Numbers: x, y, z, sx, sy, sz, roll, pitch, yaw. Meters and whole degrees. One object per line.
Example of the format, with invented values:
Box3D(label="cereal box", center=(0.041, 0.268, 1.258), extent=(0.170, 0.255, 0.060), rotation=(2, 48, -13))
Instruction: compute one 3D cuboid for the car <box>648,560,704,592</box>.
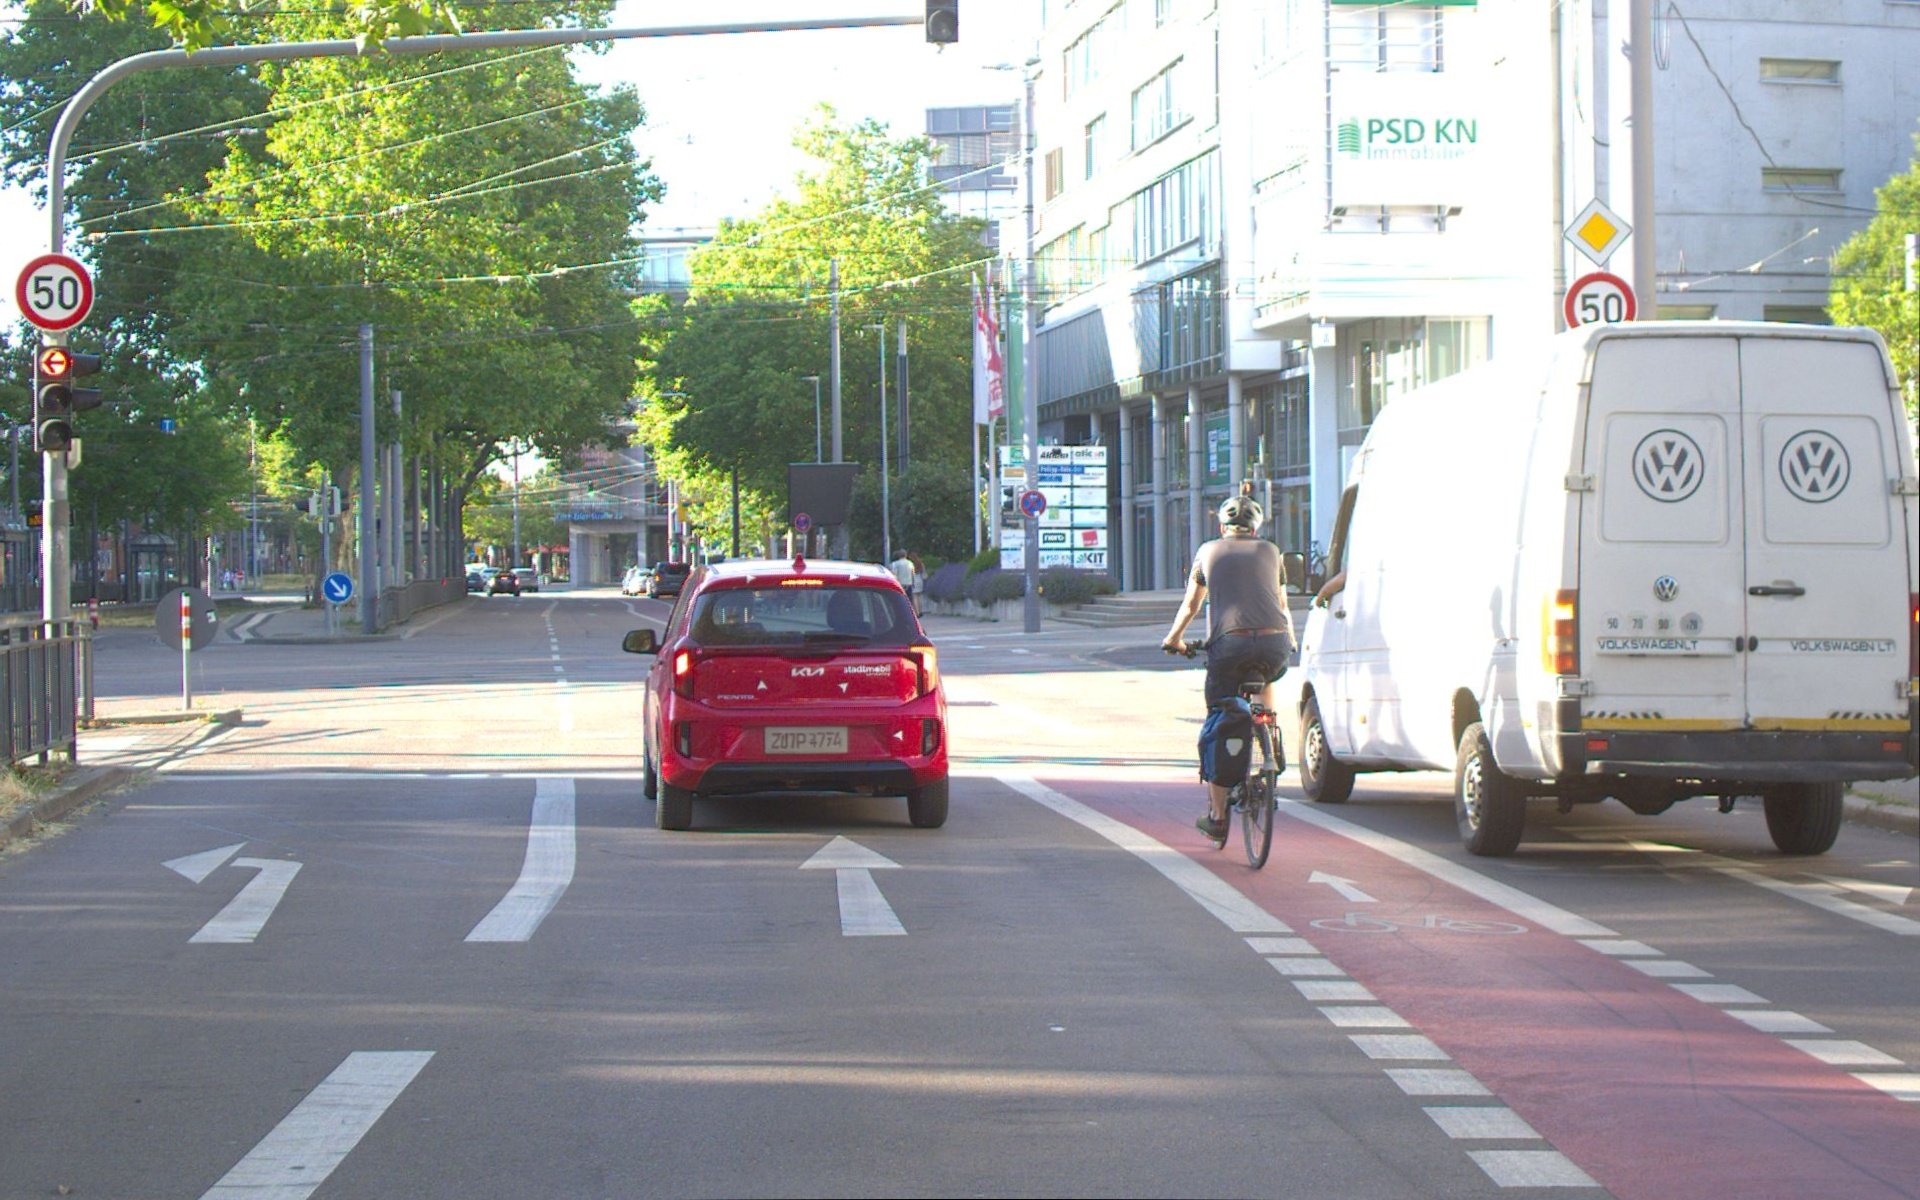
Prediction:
Box3D(label="car", center=(-14.435, -1.240, 174.775), extent=(2.478, 1.523, 4.433), rotation=(-2, 1, -9))

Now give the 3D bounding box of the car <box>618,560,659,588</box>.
Box3D(label="car", center=(-18.007, -1.454, 192.497), extent=(1.884, 1.523, 4.433), rotation=(-2, 1, -10))

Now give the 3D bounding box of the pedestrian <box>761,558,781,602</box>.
Box3D(label="pedestrian", center=(-7.434, -0.770, 135.079), extent=(0.742, 1.710, 0.748), rotation=(-1, 1, -4))

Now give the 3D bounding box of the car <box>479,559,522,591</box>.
Box3D(label="car", center=(-25.118, -1.365, 187.918), extent=(2.057, 1.648, 3.493), rotation=(-2, 1, -12))

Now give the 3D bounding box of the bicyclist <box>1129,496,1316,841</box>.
Box3D(label="bicyclist", center=(1.288, 0.326, 16.978), extent=(0.743, 1.663, 0.745), rotation=(1, 1, -9))

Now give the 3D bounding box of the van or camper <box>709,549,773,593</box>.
Box3D(label="van or camper", center=(-9.270, -1.243, 145.369), extent=(2.145, 1.744, 4.433), rotation=(-2, 1, -10))

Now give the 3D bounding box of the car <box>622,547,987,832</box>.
Box3D(label="car", center=(-1.006, 0.448, 20.202), extent=(1.839, 1.484, 3.717), rotation=(-1, 1, -7))

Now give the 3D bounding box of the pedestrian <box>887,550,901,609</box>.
Box3D(label="pedestrian", center=(-1.735, -0.545, 90.352), extent=(0.294, 1.557, 0.302), rotation=(-1, 1, -5))

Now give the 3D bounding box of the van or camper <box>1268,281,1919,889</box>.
Box3D(label="van or camper", center=(3.479, -0.099, 18.867), extent=(2.268, 2.724, 6.348), rotation=(2, 1, -6))

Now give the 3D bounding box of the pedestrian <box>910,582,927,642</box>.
Box3D(label="pedestrian", center=(-1.092, 0.318, 90.494), extent=(0.294, 1.557, 0.356), rotation=(-2, 1, -33))

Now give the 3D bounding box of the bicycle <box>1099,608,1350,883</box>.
Box3D(label="bicycle", center=(1.270, 0.681, 17.001), extent=(0.743, 1.220, 2.156), rotation=(1, 1, -9))

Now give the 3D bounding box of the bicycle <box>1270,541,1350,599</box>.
Box3D(label="bicycle", center=(9.035, -0.769, 88.814), extent=(1.934, 1.438, 0.575), rotation=(-2, 1, -8))

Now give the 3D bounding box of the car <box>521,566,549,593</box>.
Box3D(label="car", center=(-26.426, -1.277, 213.685), extent=(1.657, 1.601, 3.532), rotation=(-2, 1, -8))

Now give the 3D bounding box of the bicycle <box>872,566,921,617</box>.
Box3D(label="bicycle", center=(-1.510, -0.217, 81.426), extent=(0.792, 1.157, 2.500), rotation=(-1, 1, -9))

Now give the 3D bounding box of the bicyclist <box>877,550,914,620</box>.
Box3D(label="bicyclist", center=(-1.534, -0.364, 81.596), extent=(0.785, 1.629, 0.639), rotation=(-1, 1, -9))

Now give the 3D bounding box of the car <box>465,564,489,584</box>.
Box3D(label="car", center=(-32.766, -1.787, 233.151), extent=(1.574, 1.302, 3.340), rotation=(-2, 1, -8))
